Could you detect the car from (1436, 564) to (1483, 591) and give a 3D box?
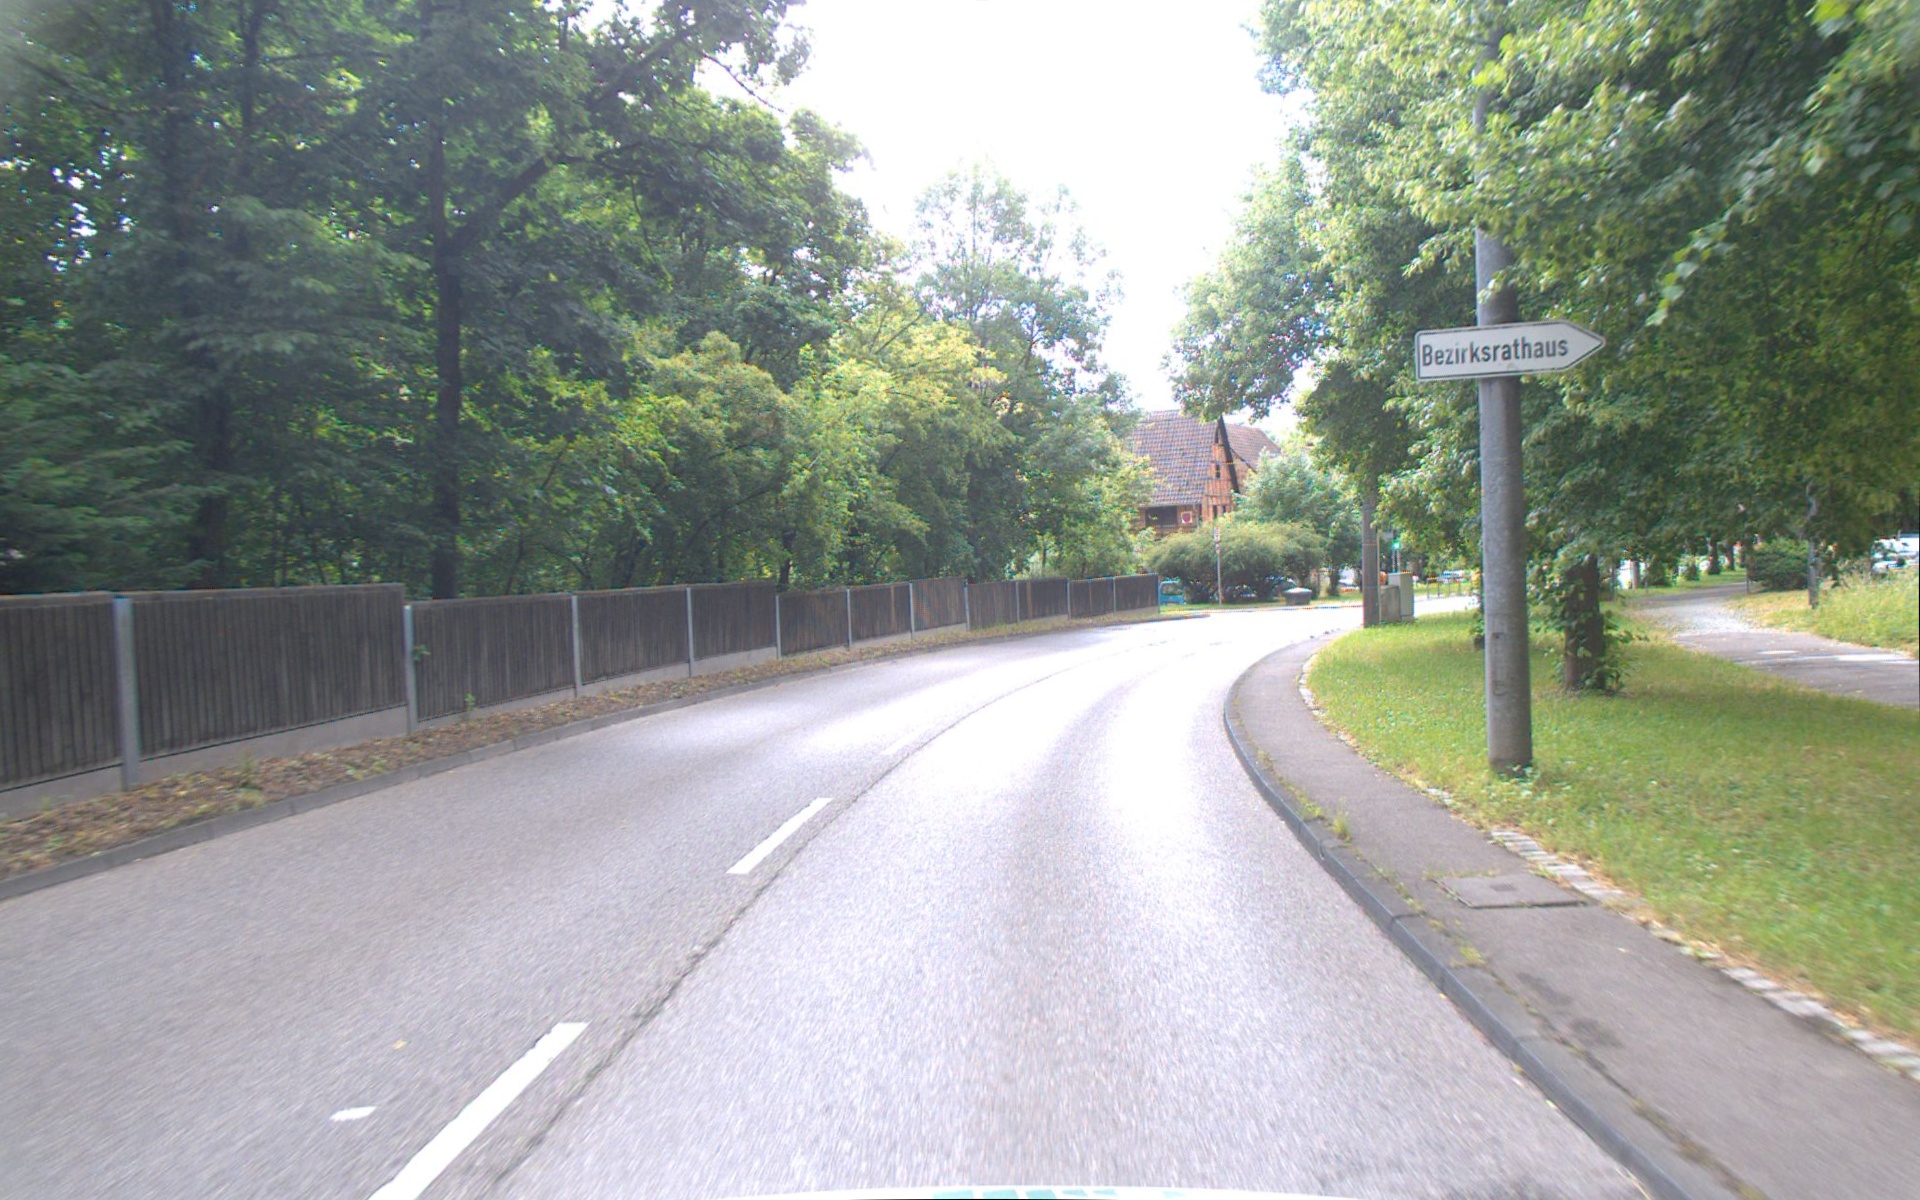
[{"bbox_3d":[35.299,-1.584,116.904,1.889,1.724,3.985,-4,0,37],"label":"car"}]

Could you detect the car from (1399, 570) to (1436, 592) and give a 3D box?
[{"bbox_3d":[30.454,-1.263,110.053,1.527,1.300,2.544,-4,0,37],"label":"car"}]

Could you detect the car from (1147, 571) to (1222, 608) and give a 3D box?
[{"bbox_3d":[11.358,-0.554,83.431,1.958,1.646,4.436,-4,0,33],"label":"car"}]

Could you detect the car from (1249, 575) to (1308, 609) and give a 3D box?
[{"bbox_3d":[17.900,-0.457,92.874,1.780,1.646,3.989,-4,0,34],"label":"car"}]

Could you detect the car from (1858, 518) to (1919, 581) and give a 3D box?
[{"bbox_3d":[26.445,-1.461,46.611,1.871,1.455,4.460,-4,2,30],"label":"car"}]
